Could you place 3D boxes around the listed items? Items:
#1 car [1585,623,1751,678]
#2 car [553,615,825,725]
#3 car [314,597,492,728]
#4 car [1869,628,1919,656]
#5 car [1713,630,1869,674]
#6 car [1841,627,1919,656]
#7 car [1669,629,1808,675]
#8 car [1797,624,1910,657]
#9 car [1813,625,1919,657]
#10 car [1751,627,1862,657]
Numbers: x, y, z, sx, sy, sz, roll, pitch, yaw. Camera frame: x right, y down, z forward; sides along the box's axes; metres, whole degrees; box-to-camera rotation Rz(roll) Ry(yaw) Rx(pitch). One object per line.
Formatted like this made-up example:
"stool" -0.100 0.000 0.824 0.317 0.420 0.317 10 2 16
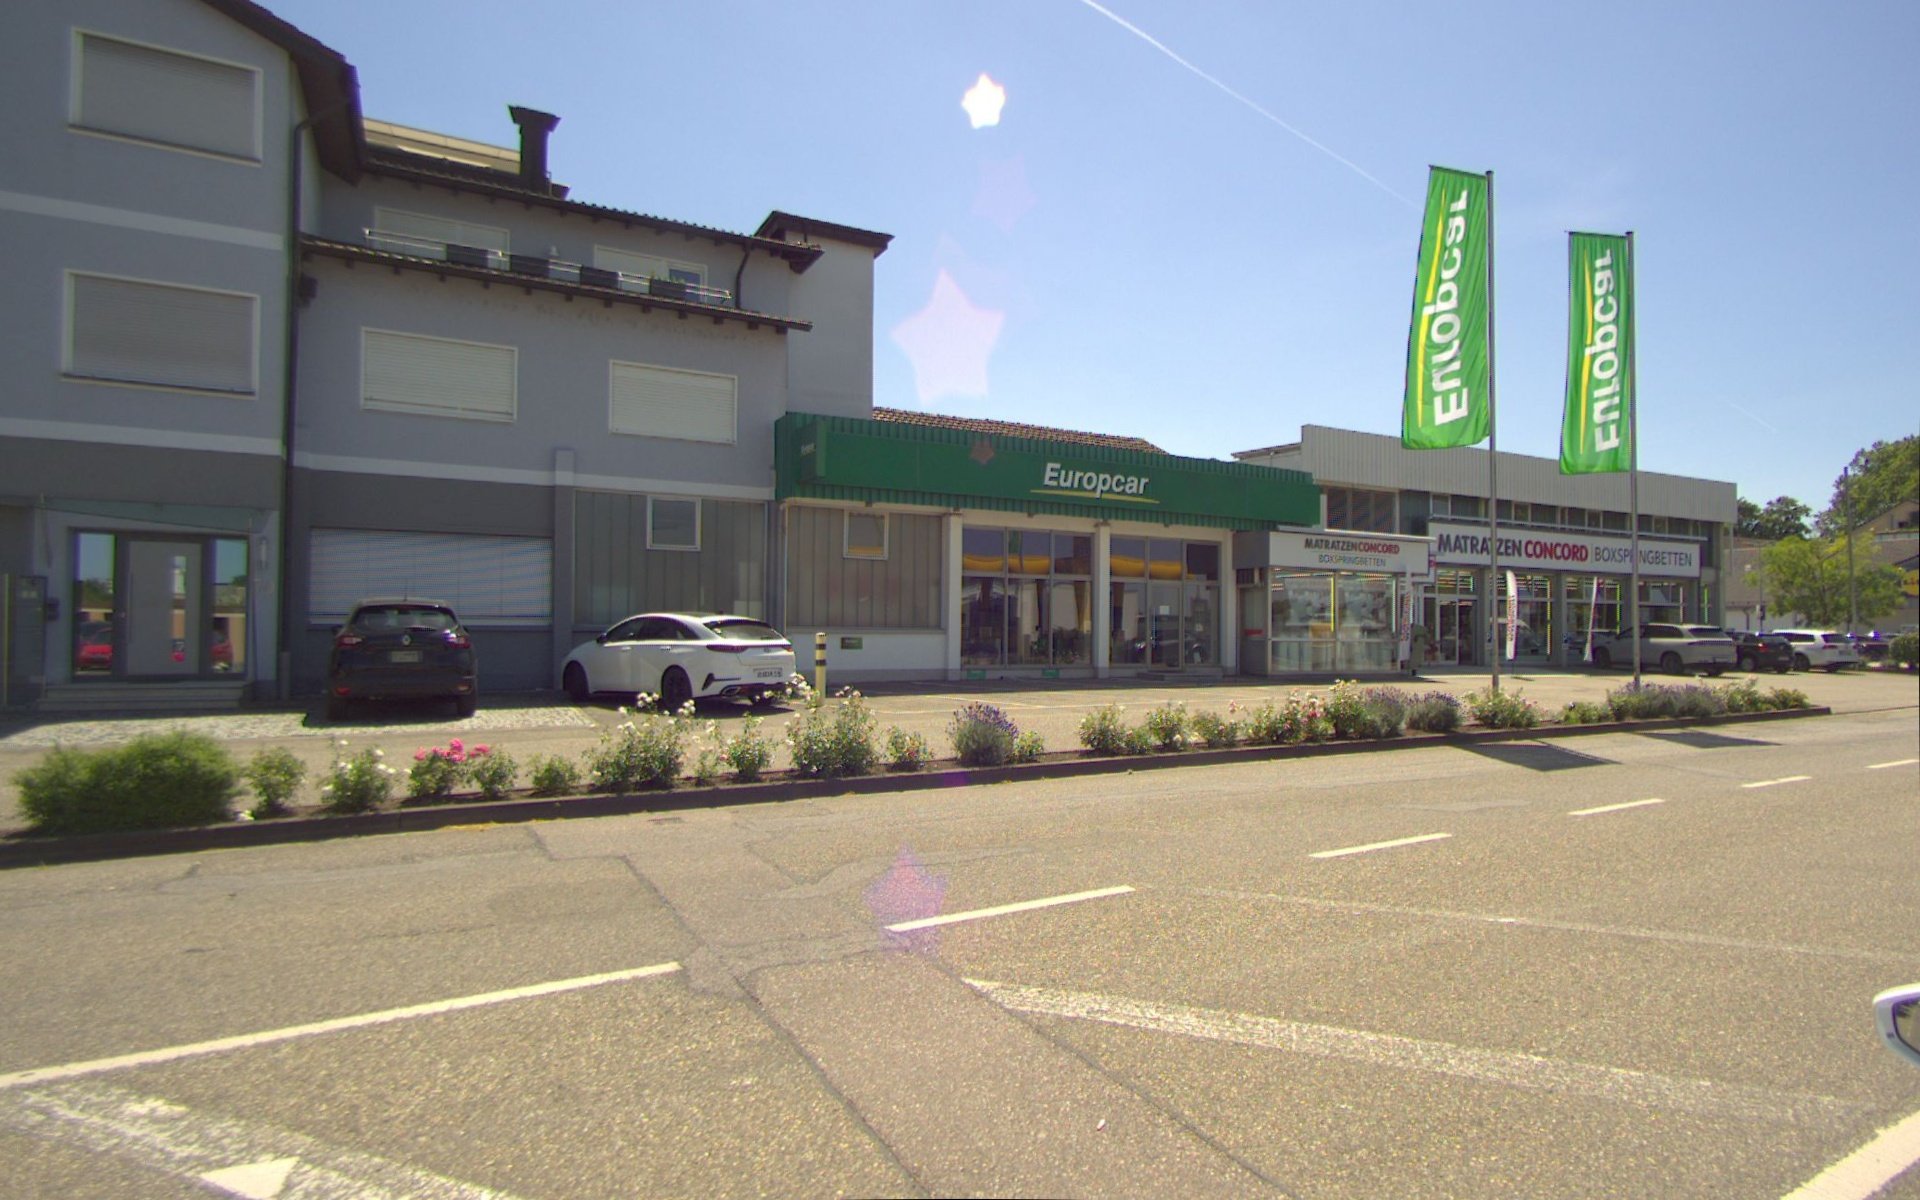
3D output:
"car" 23.945 1.649 34.207 1.965 1.686 4.536 1 -1 -11
"car" -4.318 0.989 15.713 4.286 1.458 1.932 0 -1 38
"car" -7.892 0.800 14.267 1.946 1.586 3.543 1 -1 -30
"car" 55.914 2.450 58.310 1.806 1.550 4.292 2 -1 -29
"car" 30.904 1.897 37.508 1.946 1.466 4.186 1 -1 -14
"car" 53.914 2.400 57.932 1.806 1.550 4.292 2 -1 -29
"car" 28.252 1.853 36.599 1.965 1.494 3.630 1 -1 -11
"car" 47.586 2.157 53.555 1.751 1.610 4.209 2 -1 -34
"car" 51.679 2.305 57.172 2.089 1.677 4.292 2 -1 -29
"car" 44.677 2.202 53.083 1.751 1.387 4.209 2 -1 -34
